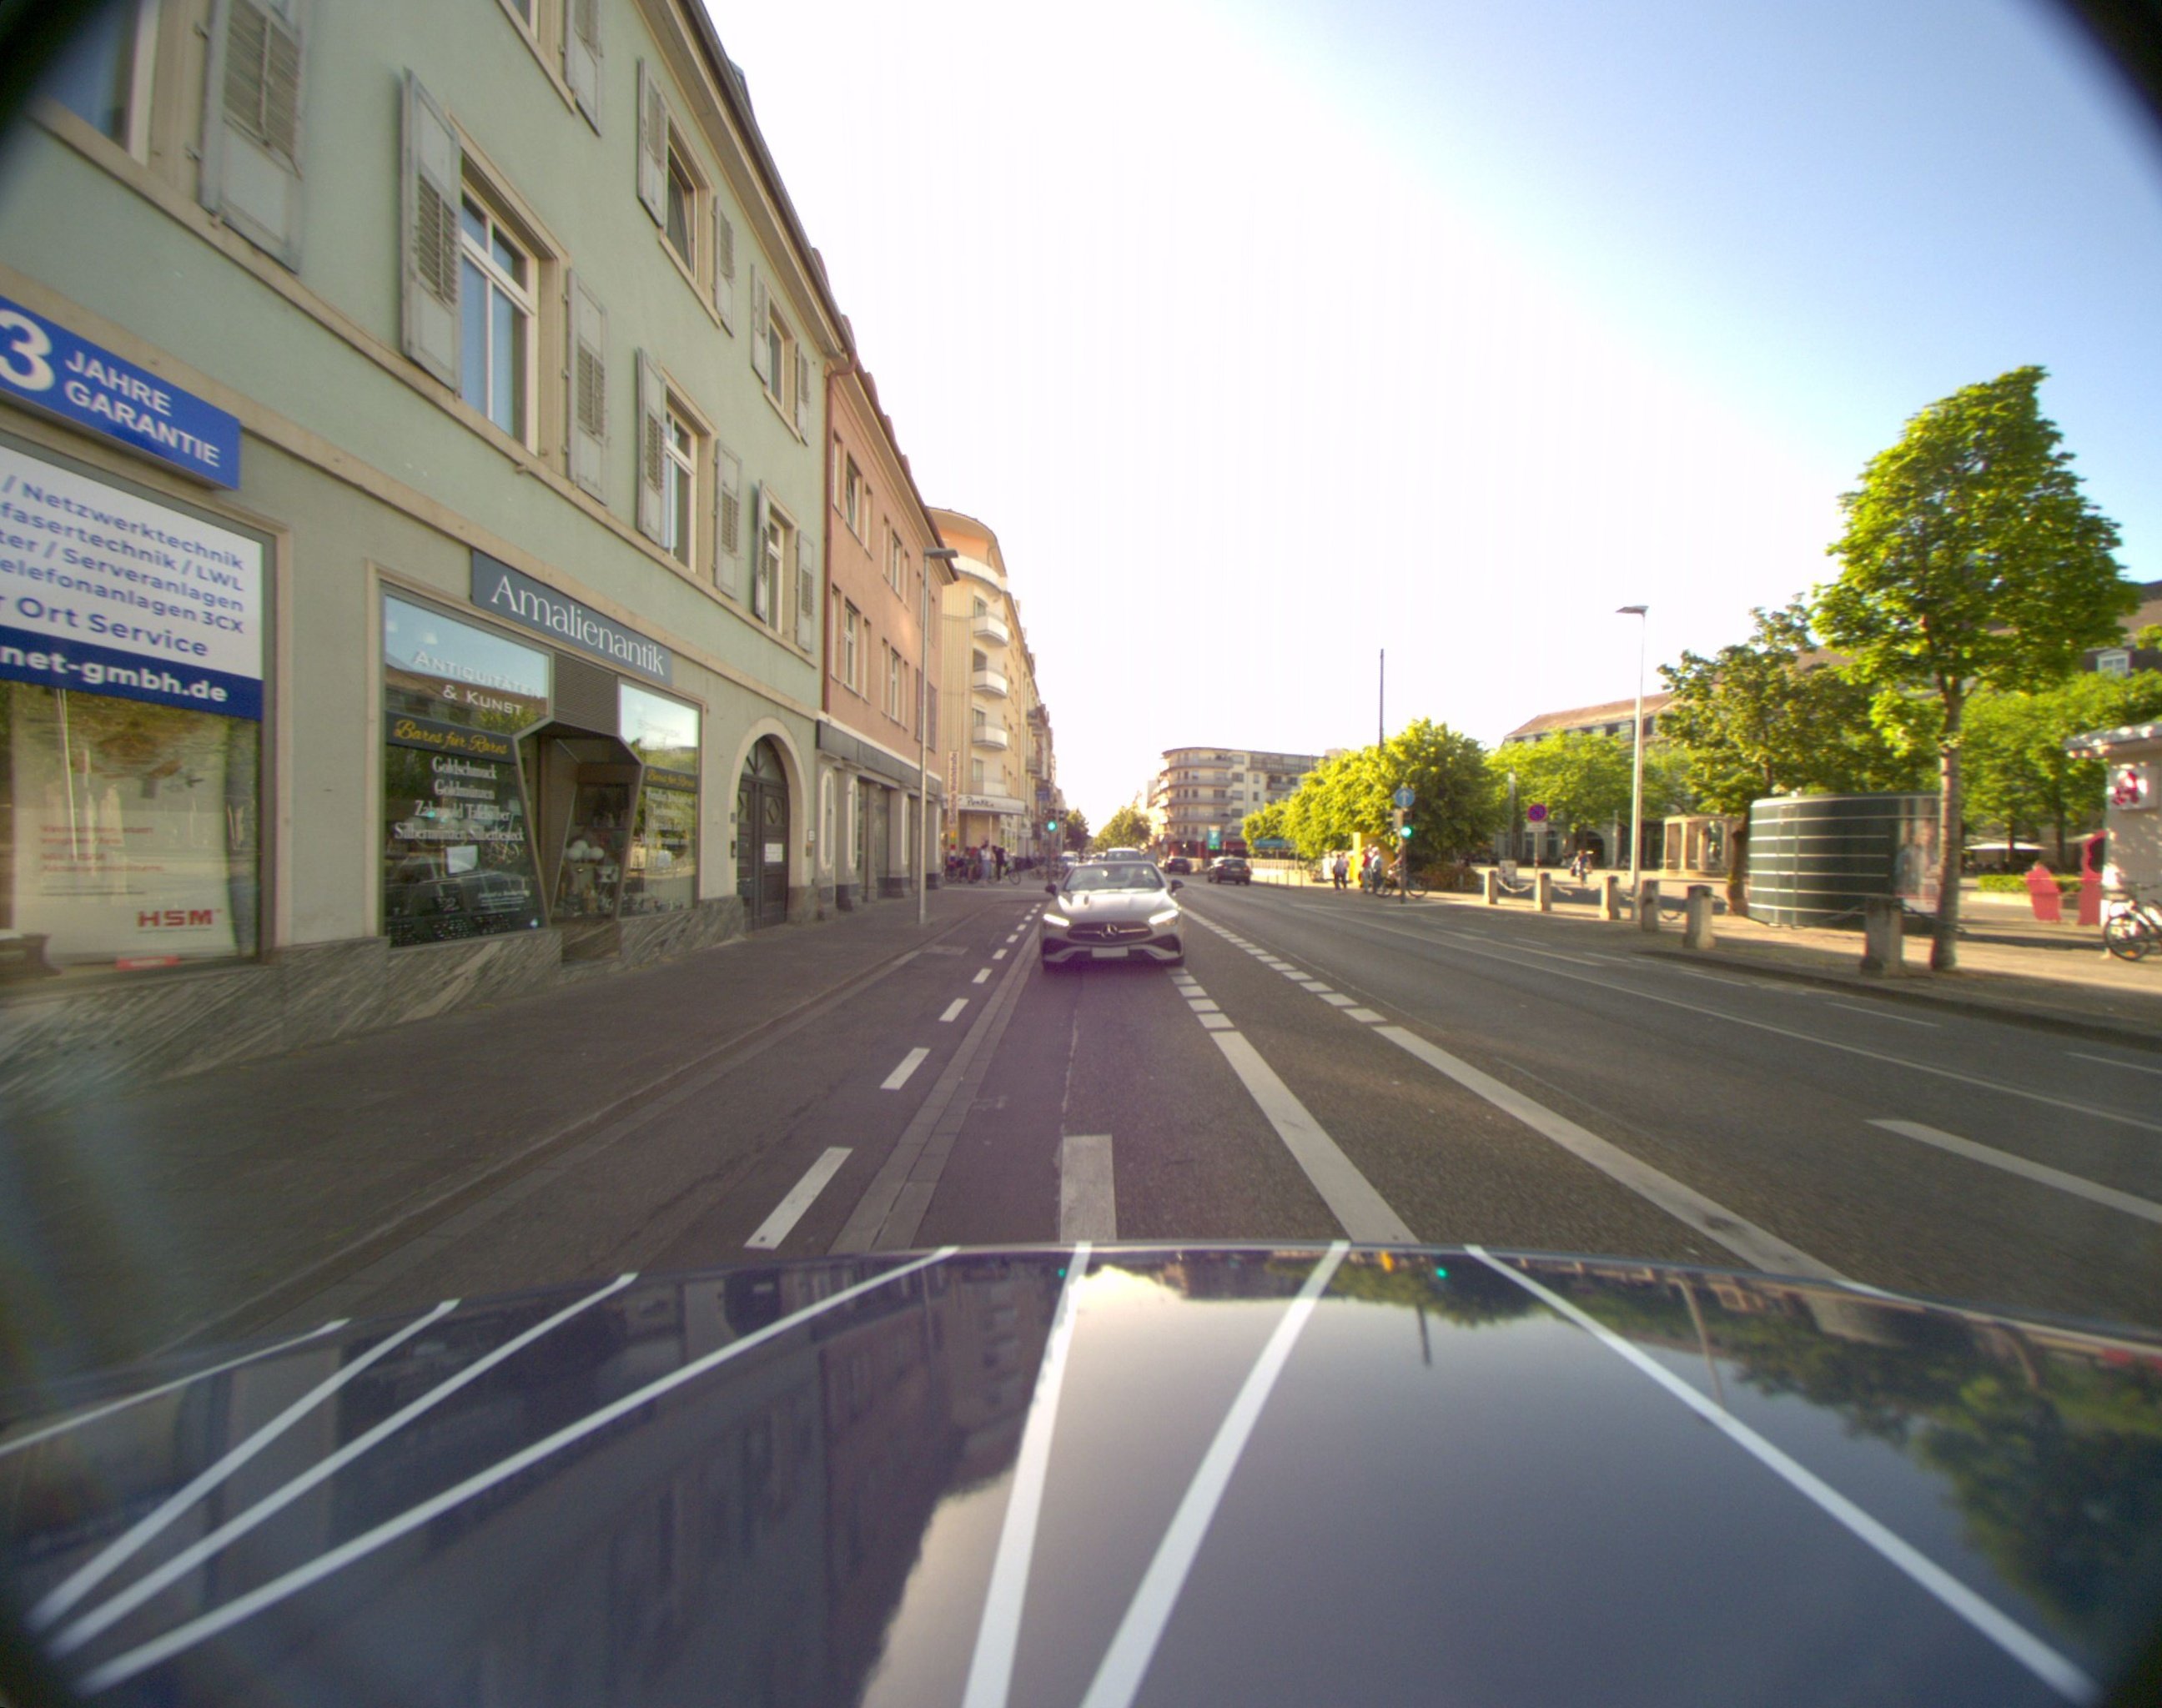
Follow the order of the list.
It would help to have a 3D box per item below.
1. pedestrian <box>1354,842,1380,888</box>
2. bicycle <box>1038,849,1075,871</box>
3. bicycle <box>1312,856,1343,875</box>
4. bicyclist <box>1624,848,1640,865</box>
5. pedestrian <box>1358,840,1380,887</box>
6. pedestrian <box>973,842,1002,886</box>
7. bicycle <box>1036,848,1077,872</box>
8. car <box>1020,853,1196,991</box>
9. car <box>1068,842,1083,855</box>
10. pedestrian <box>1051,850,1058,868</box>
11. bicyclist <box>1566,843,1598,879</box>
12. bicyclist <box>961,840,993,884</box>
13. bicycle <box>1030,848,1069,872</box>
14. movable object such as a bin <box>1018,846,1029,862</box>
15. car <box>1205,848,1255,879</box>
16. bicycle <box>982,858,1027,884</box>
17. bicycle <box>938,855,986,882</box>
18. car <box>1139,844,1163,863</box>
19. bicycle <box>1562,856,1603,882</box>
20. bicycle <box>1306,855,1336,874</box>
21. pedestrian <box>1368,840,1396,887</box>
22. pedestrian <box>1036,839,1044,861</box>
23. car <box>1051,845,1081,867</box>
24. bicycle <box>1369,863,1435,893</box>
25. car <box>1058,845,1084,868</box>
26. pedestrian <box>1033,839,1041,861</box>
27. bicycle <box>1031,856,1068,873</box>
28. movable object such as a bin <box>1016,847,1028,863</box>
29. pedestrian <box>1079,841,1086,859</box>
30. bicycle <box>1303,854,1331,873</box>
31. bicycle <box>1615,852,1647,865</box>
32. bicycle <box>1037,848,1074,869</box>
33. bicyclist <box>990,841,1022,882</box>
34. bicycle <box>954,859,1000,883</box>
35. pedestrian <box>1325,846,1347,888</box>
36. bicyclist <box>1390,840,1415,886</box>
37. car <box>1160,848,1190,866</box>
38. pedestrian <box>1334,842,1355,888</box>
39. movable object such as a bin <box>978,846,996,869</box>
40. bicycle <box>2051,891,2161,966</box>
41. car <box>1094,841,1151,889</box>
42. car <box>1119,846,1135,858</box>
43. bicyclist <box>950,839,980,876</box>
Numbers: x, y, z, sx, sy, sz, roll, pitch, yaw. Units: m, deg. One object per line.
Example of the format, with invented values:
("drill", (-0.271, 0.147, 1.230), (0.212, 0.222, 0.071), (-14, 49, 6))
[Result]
("pedestrian", (11.409, 0.434, 30.339), (0.590, 1.801, 0.781), (-1, 2, -43))
("bicycle", (-1.334, 0.316, 41.618), (1.962, 1.151, 0.755), (1, 1, 1))
("bicycle", (13.585, 0.633, 41.893), (1.559, 0.996, 0.364), (0, 1, 0))
("bicyclist", (47.277, 0.239, 65.207), (0.951, 1.463, 0.647), (0, 1, 4))
("pedestrian", (11.778, 0.373, 31.091), (0.609, 1.907, 0.784), (0, 1, 2))
("pedestrian", (-3.585, 0.379, 29.121), (0.813, 1.649, 0.768), (1, 1, 37))
("bicycle", (-1.326, 0.292, 40.350), (2.142, 1.237, 0.710), (1, 1, -4))
("car", (0.390, 0.748, 10.578), (1.910, 1.454, 4.364), (-1, 1, 2))
("car", (-0.719, -0.748, 103.374), (1.998, 1.718, 4.000), (0, 1, 1))
("pedestrian", (-2.840, 0.537, 81.290), (0.694, 1.895, 0.906), (0, 1, -2))
("bicyclist", (22.846, 0.287, 34.678), (0.941, 1.599, 1.172), (1, 1, 19))
("bicyclist", (-4.297, 0.324, 31.394), (1.142, 1.751, 0.752), (0, 1, -21))
("bicycle", (-1.633, 0.307, 39.340), (1.946, 1.205, 0.932), (1, 1, -5))
("movable object such as a bin", (-4.233, -0.008, 56.270), (0.703, 1.232, 0.960), (0, 1, 1))
("car", (7.822, 0.449, 40.234), (1.654, 1.389, 4.042), (5, 1, -1))
("bicycle", (-3.268, 0.720, 32.284), (1.910, 1.014, 0.561), (2, 2, 28))
("bicycle", (-5.073, 0.601, 32.425), (1.915, 1.090, 0.734), (1, 1, 22))
("car", (7.647, -0.099, 83.537), (1.999, 1.936, 4.782), (3, 1, 0))
("bicycle", (22.826, 0.665, 34.615), (0.941, 1.126, 2.482), (1, 1, 19))
("bicycle", (13.393, 0.592, 42.378), (1.549, 1.025, 0.364), (0, 1, 0))
("pedestrian", (11.697, 0.364, 29.539), (0.590, 1.801, 0.782), (0, 1, -25))
("pedestrian", (-3.683, -0.349, 68.177), (0.694, 1.895, 0.906), (0, 1, -2))
("car", (-0.956, 0.095, 50.410), (1.693, 1.390, 4.000), (0, 1, 2))
("bicycle", (11.654, 0.876, 27.630), (2.171, 1.066, 0.765), (-1, 0, 22))
("car", (-0.815, 0.159, 60.682), (1.999, 1.725, 4.197), (0, 1, -1))
("pedestrian", (-3.984, -0.389, 68.924), (0.673, 1.942, 0.615), (0, 1, -3))
("bicycle", (-1.638, 0.518, 38.803), (1.847, 0.826, 0.741), (1, 1, -5))
("movable object such as a bin", (-4.234, 0.049, 54.503), (0.703, 1.154, 0.960), (0, 1, 1))
("pedestrian", (0.210, -0.469, 83.231), (0.610, 1.912, 0.714), (1, 1, 13))
("bicycle", (13.585, 0.539, 43.797), (1.529, 1.025, 0.364), (1, 1, 15))
("bicycle", (47.222, 0.386, 65.231), (2.122, 1.098, 0.697), (1, 1, 4))
("bicycle", (-1.449, 0.253, 42.930), (2.026, 1.143, 0.715), (1, 1, 1))
("bicyclist", (-3.162, 0.297, 32.097), (1.129, 1.675, 0.727), (1, 1, 28))
("bicycle", (-4.287, 0.692, 31.399), (1.824, 0.988, 0.563), (0, 1, -21))
("pedestrian", (10.276, 0.498, 30.605), (0.686, 1.664, 0.699), (1, 1, 32))
("bicyclist", (11.680, 0.302, 27.594), (0.803, 1.639, 0.995), (0, 1, 23))
("car", (7.623, 0.226, 62.132), (1.753, 1.415, 4.253), (0, 1, -2))
("pedestrian", (10.793, 0.444, 31.080), (0.650, 1.847, 0.626), (1, 1, 32))
("movable object such as a bin", (-4.570, 0.152, 37.135), (0.810, 1.106, 0.620), (0, 1, -1))
("bicycle", (15.436, 1.059, 10.879), (1.888, 0.996, 0.765), (0, 1, 9))
("car", (1.526, 0.384, 29.314), (1.998, 1.718, 4.000), (1, 1, 1))
("car", (6.449, -0.254, 105.812), (1.846, 1.538, 4.239), (3, 1, -1))
("bicyclist", (-4.954, 0.147, 32.376), (1.028, 1.574, 0.727), (1, 1, 23))
